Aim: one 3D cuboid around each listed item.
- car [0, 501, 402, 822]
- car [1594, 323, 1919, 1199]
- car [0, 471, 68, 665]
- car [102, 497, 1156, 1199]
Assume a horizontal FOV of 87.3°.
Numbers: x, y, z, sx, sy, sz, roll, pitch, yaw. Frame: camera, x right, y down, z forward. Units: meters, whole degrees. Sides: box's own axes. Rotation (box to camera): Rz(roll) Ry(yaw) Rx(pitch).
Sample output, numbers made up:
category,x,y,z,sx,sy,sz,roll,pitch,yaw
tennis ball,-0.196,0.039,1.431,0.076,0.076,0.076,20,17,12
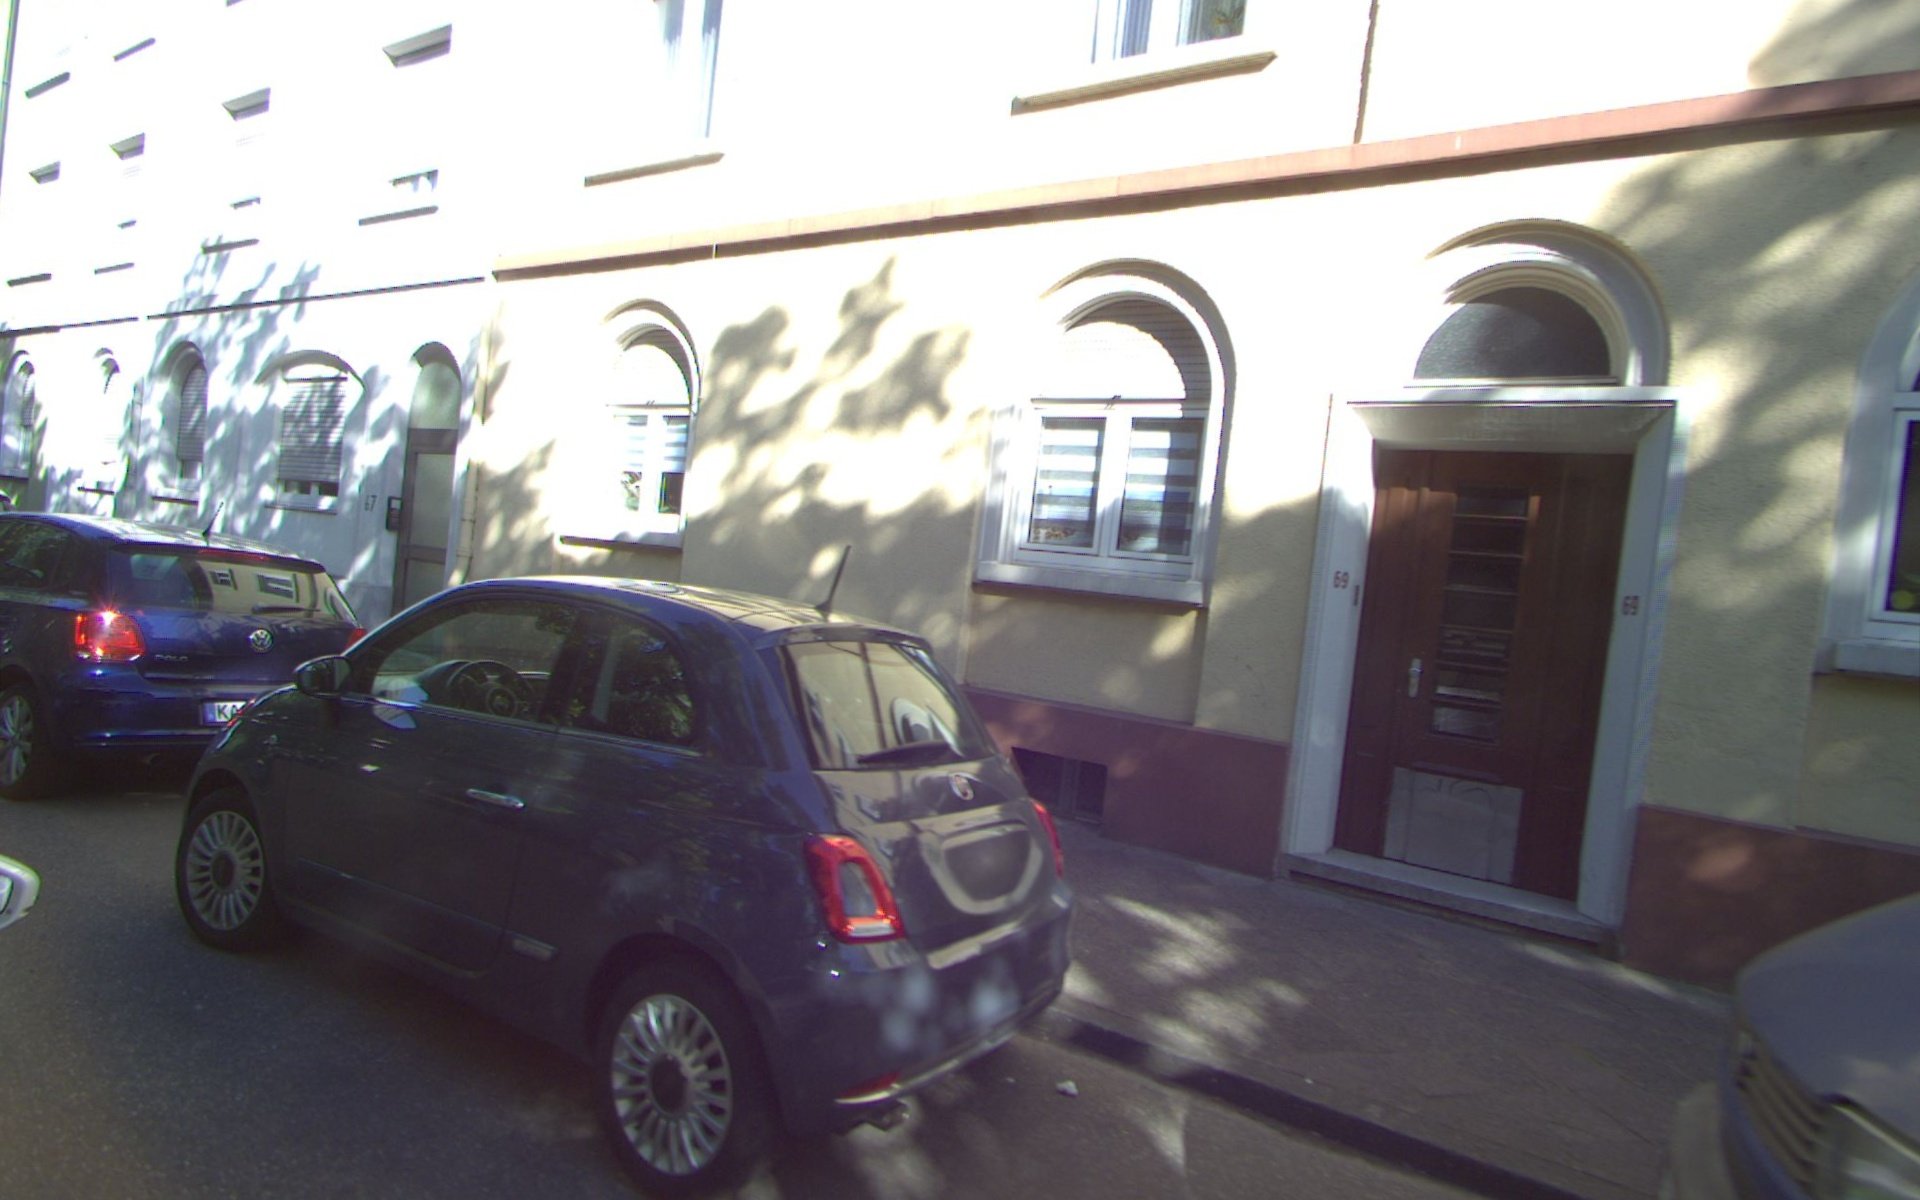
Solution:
category,x,y,z,sx,sy,sz,roll,pitch,yaw
car,-5.435,0.173,6.247,3.794,1.412,1.551,7,1,28
car,3.450,0.920,0.804,4.765,1.925,1.950,7,1,32
car,-10.422,-0.508,9.463,4.087,1.707,1.725,7,1,29
car,-1.314,0.586,3.699,3.534,1.517,1.623,7,1,30
